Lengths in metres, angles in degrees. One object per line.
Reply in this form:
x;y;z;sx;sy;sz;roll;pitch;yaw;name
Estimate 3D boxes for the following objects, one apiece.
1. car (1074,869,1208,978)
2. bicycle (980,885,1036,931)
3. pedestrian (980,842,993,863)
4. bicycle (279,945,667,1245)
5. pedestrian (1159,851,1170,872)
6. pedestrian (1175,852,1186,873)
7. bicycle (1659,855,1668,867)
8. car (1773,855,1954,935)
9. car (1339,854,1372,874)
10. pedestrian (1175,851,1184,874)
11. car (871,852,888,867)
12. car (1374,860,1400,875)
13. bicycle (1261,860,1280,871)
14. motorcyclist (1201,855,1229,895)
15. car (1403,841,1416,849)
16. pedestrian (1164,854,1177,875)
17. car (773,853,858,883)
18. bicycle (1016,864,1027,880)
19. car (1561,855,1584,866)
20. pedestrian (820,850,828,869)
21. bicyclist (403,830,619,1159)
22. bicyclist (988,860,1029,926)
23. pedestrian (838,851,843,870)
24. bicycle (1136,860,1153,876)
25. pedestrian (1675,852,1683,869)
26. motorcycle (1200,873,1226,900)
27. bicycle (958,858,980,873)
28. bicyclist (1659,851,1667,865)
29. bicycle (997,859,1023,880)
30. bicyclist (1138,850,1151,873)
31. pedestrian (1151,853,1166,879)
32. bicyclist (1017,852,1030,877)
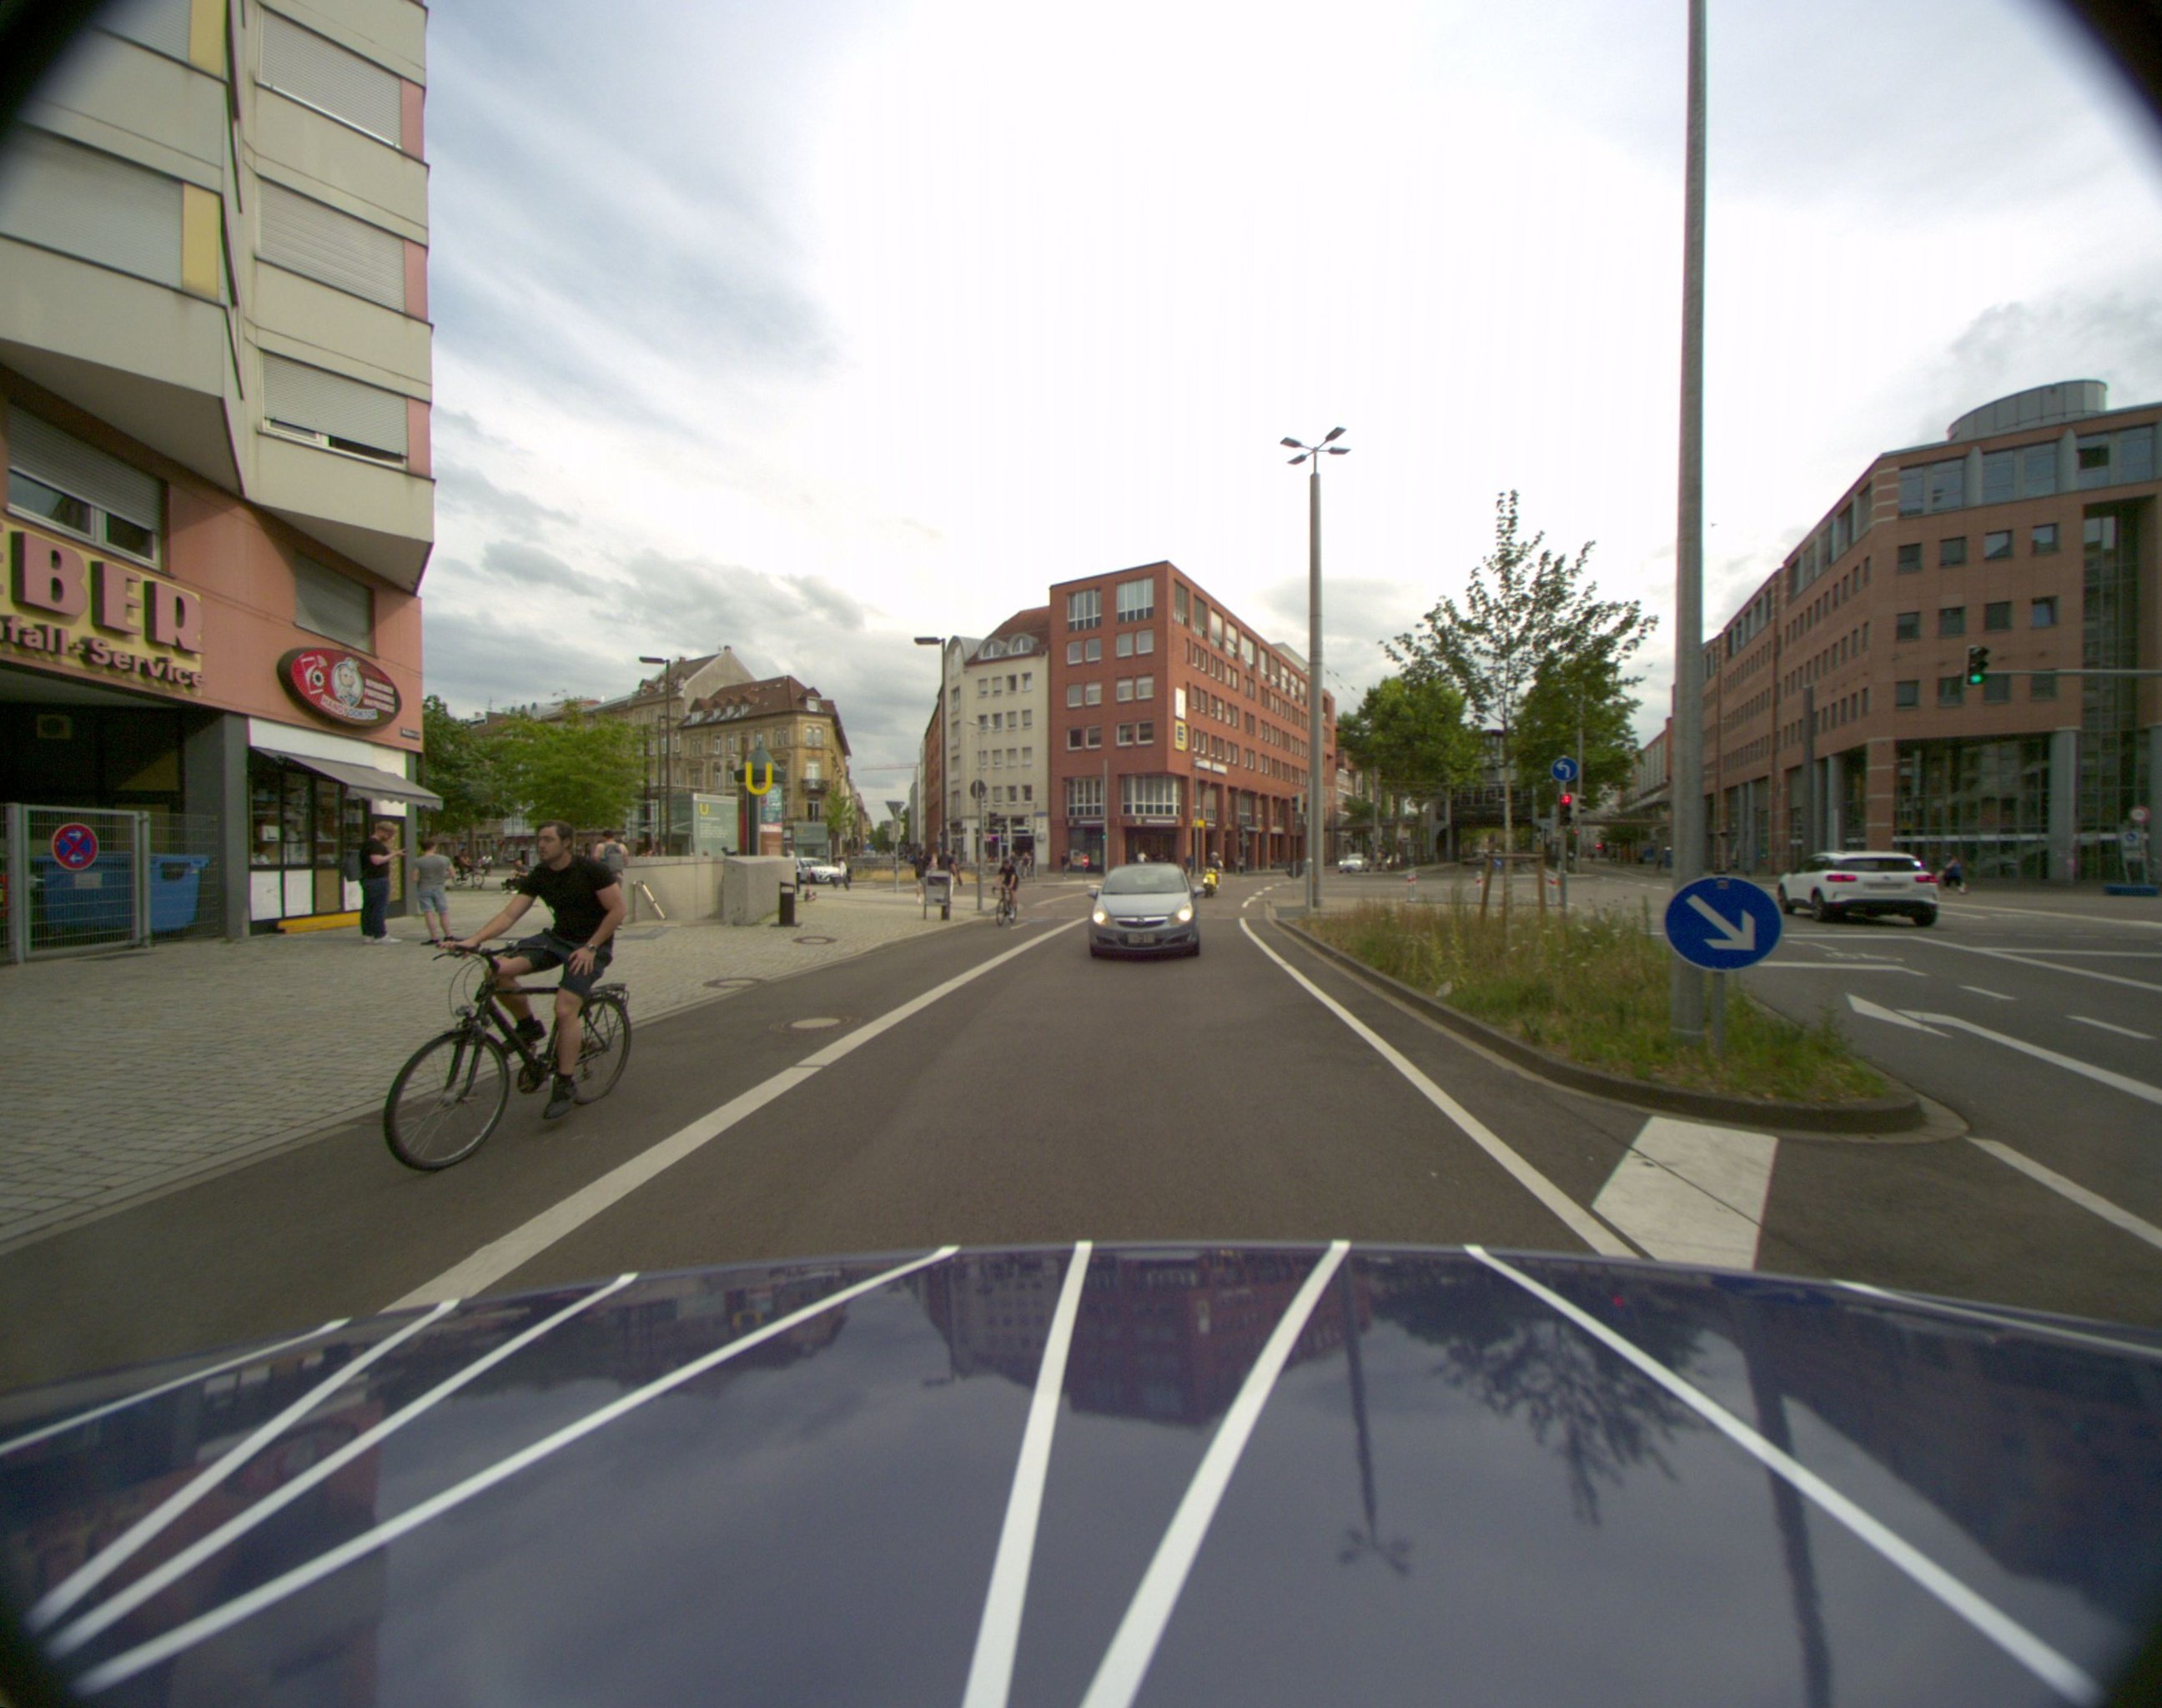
1.174;1.037;12.760;1.722;1.394;4.003;-2;0;11;car
-1.796;1.317;18.950;0.488;0.995;1.750;-1;1;27;bicycle
-7.501;-0.119;60.326;0.791;1.617;0.719;0;0;34;pedestrian
-3.295;1.204;4.430;0.406;1.115;2.018;-1;0;8;bicycle
6.611;0.594;60.380;0.541;1.642;0.894;0;0;30;pedestrian
8.098;0.684;61.975;0.647;1.679;0.652;0;2;30;pedestrian
55.595;0.689;72.506;0.546;1.111;1.593;0;0;31;bicycle
18.477;0.869;18.219;1.833;1.650;4.333;0;0;29;car
23.495;0.839;64.930;1.953;1.592;4.008;0;0;31;car
7.756;0.686;60.022;0.541;1.787;0.562;0;0;30;pedestrian
-22.195;0.614;83.495;1.697;1.577;3.654;0;0;-16;car
33.461;1.499;82.995;1.953;1.592;4.008;0;0;31;car
19.114;1.152;76.630;1.855;1.034;0.508;0;0;31;bicycle
5.169;0.812;29.314;0.870;1.508;1.045;0;0;21;motorcyclist
66.574;-1.810;153.877;1.953;1.592;4.008;0;0;31;car
7.332;0.832;62.149;0.647;1.704;1.058;0;1;30;pedestrian
-14.965;0.751;42.742;4.590;1.503;2.004;0;2;31;car
-3.635;1.123;46.645;0.543;0.945;1.806;0;0;-9;bicycle
81.882;1.061;126.587;2.503;1.936;5.102;0;0;25;car
-23.066;0.523;68.165;0.423;1.675;0.516;0;0;32;pedestrian
-3.221;0.729;4.374;0.560;1.699;0.863;0;0;4;bicyclist
-1.804;0.966;18.942;0.612;1.594;0.848;-2;0;28;bicyclist
-22.075;0.605;69.737;0.425;1.675;0.514;0;0;-26;pedestrian
4.715;1.046;56.427;0.390;1.115;2.081;4;0;28;bicycle
56.337;0.629;71.547;0.528;1.564;0.602;0;1;31;pedestrian
5.113;1.254;29.359;0.569;0.962;2.017;0;0;22;motorcycle
-9.160;0.927;62.133;1.803;1.197;0.544;0;0;21;bicycle
55.548;0.361;72.534;0.550;1.373;0.739;0;1;32;bicyclist
-3.890;0.825;41.779;0.397;1.104;1.834;0;0;31;bicycle
4.721;0.569;56.371;0.641;1.699;0.864;0;-1;27;bicyclist
6.070;0.943;59.440;0.814;2.001;0.799;-2;0;28;pedestrian
-3.558;0.638;46.745;0.746;1.549;0.945;0;0;-8;bicyclist
